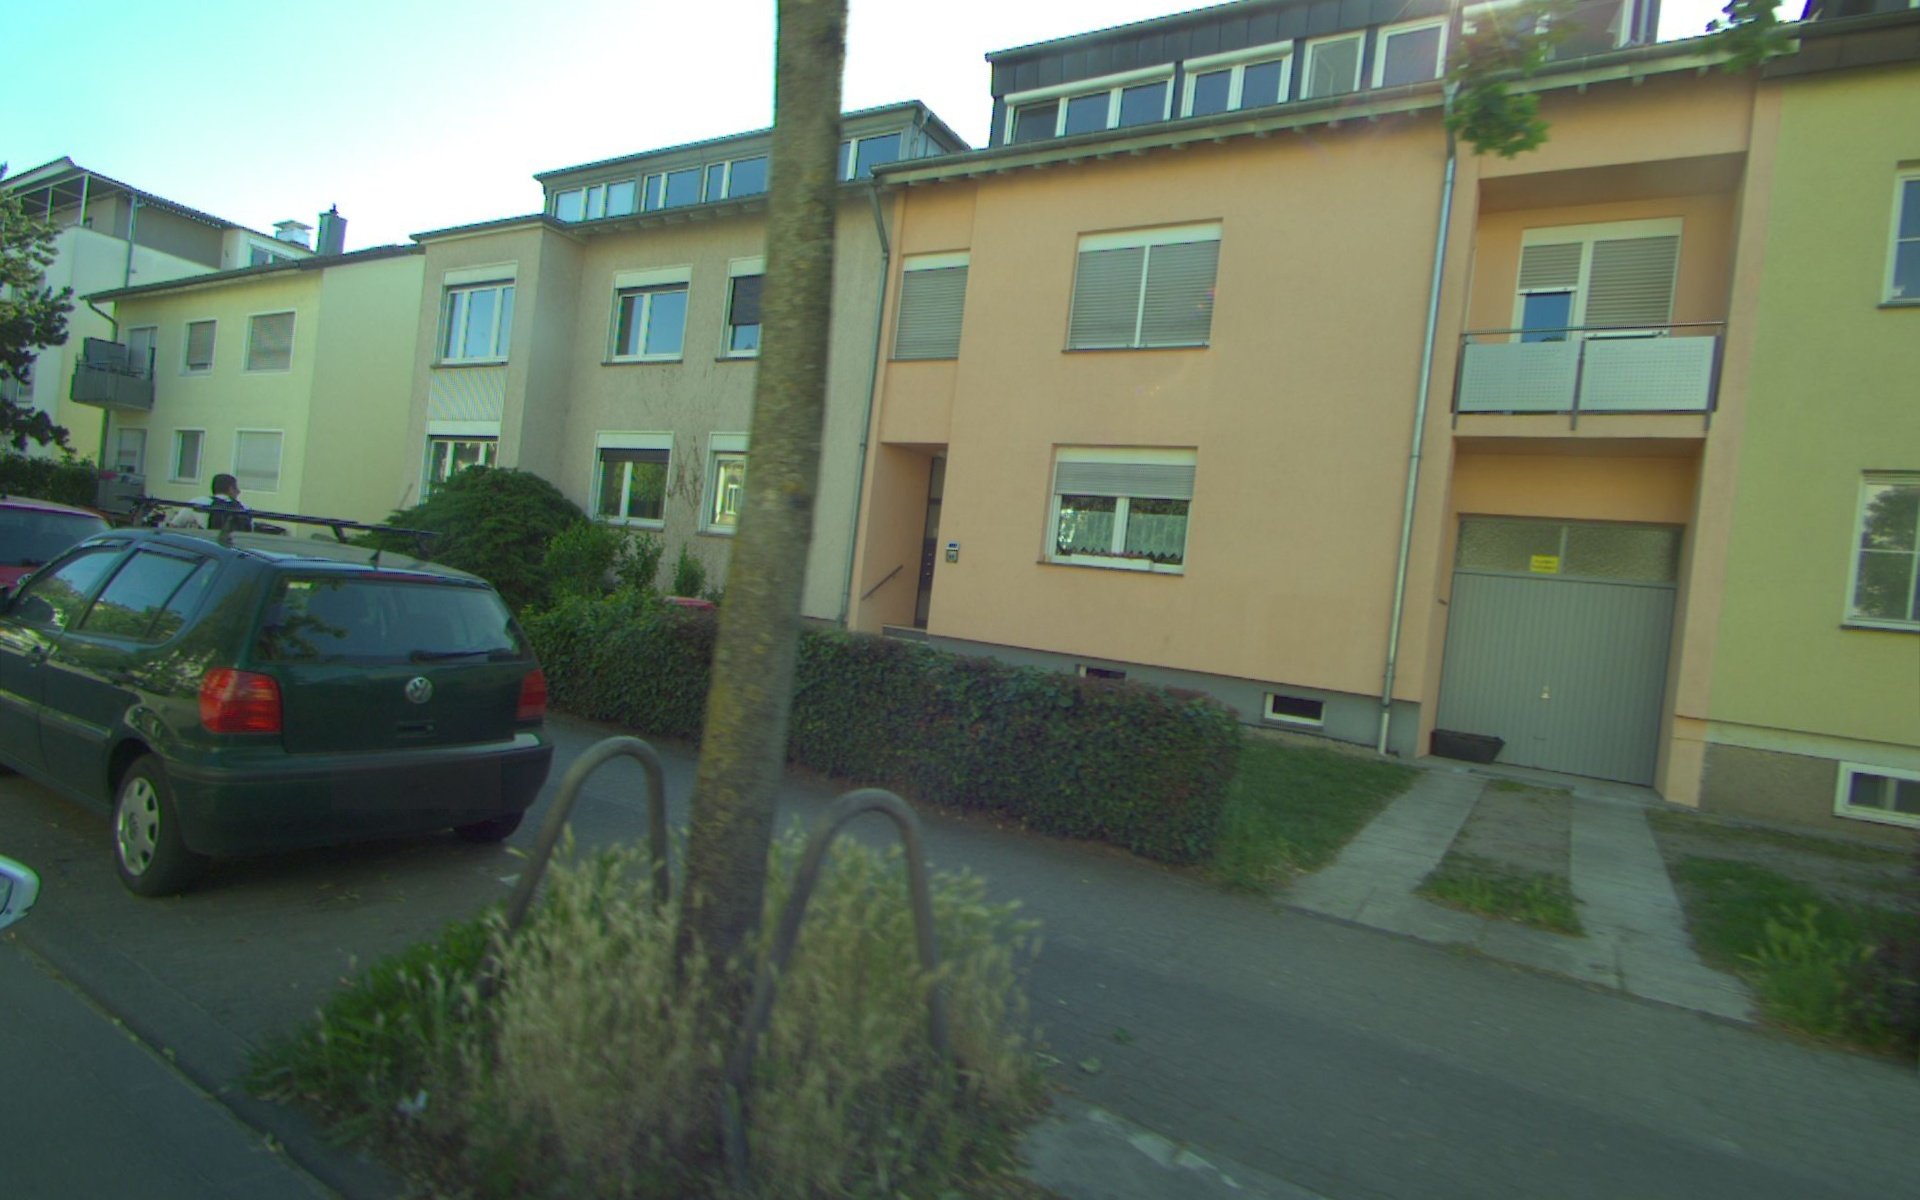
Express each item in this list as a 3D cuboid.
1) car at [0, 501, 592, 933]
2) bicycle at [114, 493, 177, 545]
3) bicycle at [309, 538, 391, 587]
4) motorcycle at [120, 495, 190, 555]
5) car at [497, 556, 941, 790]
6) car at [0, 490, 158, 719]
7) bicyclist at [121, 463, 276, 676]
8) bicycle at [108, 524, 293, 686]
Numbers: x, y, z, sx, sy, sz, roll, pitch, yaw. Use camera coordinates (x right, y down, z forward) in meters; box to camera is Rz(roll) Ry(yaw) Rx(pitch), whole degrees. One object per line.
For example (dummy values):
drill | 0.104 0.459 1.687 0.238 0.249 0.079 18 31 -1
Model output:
car | -3.754 0.330 5.082 3.656 1.373 1.533 7 1 32
bicycle | -23.912 -2.384 29.517 2.385 1.320 0.598 7 2 32
bicycle | -15.913 -0.966 26.302 0.493 1.026 1.785 7 -2 24
motorcycle | -21.813 -2.044 27.231 2.385 1.393 0.636 7 2 32
car | -2.158 0.492 8.697 3.656 1.374 1.532 7 3 32
car | -7.739 -0.140 7.453 3.655 1.468 1.533 7 1 30
bicyclist | -6.980 -0.278 9.221 0.999 1.816 0.724 7 2 32
bicycle | -7.029 0.026 9.285 1.791 1.263 0.698 7 2 32
